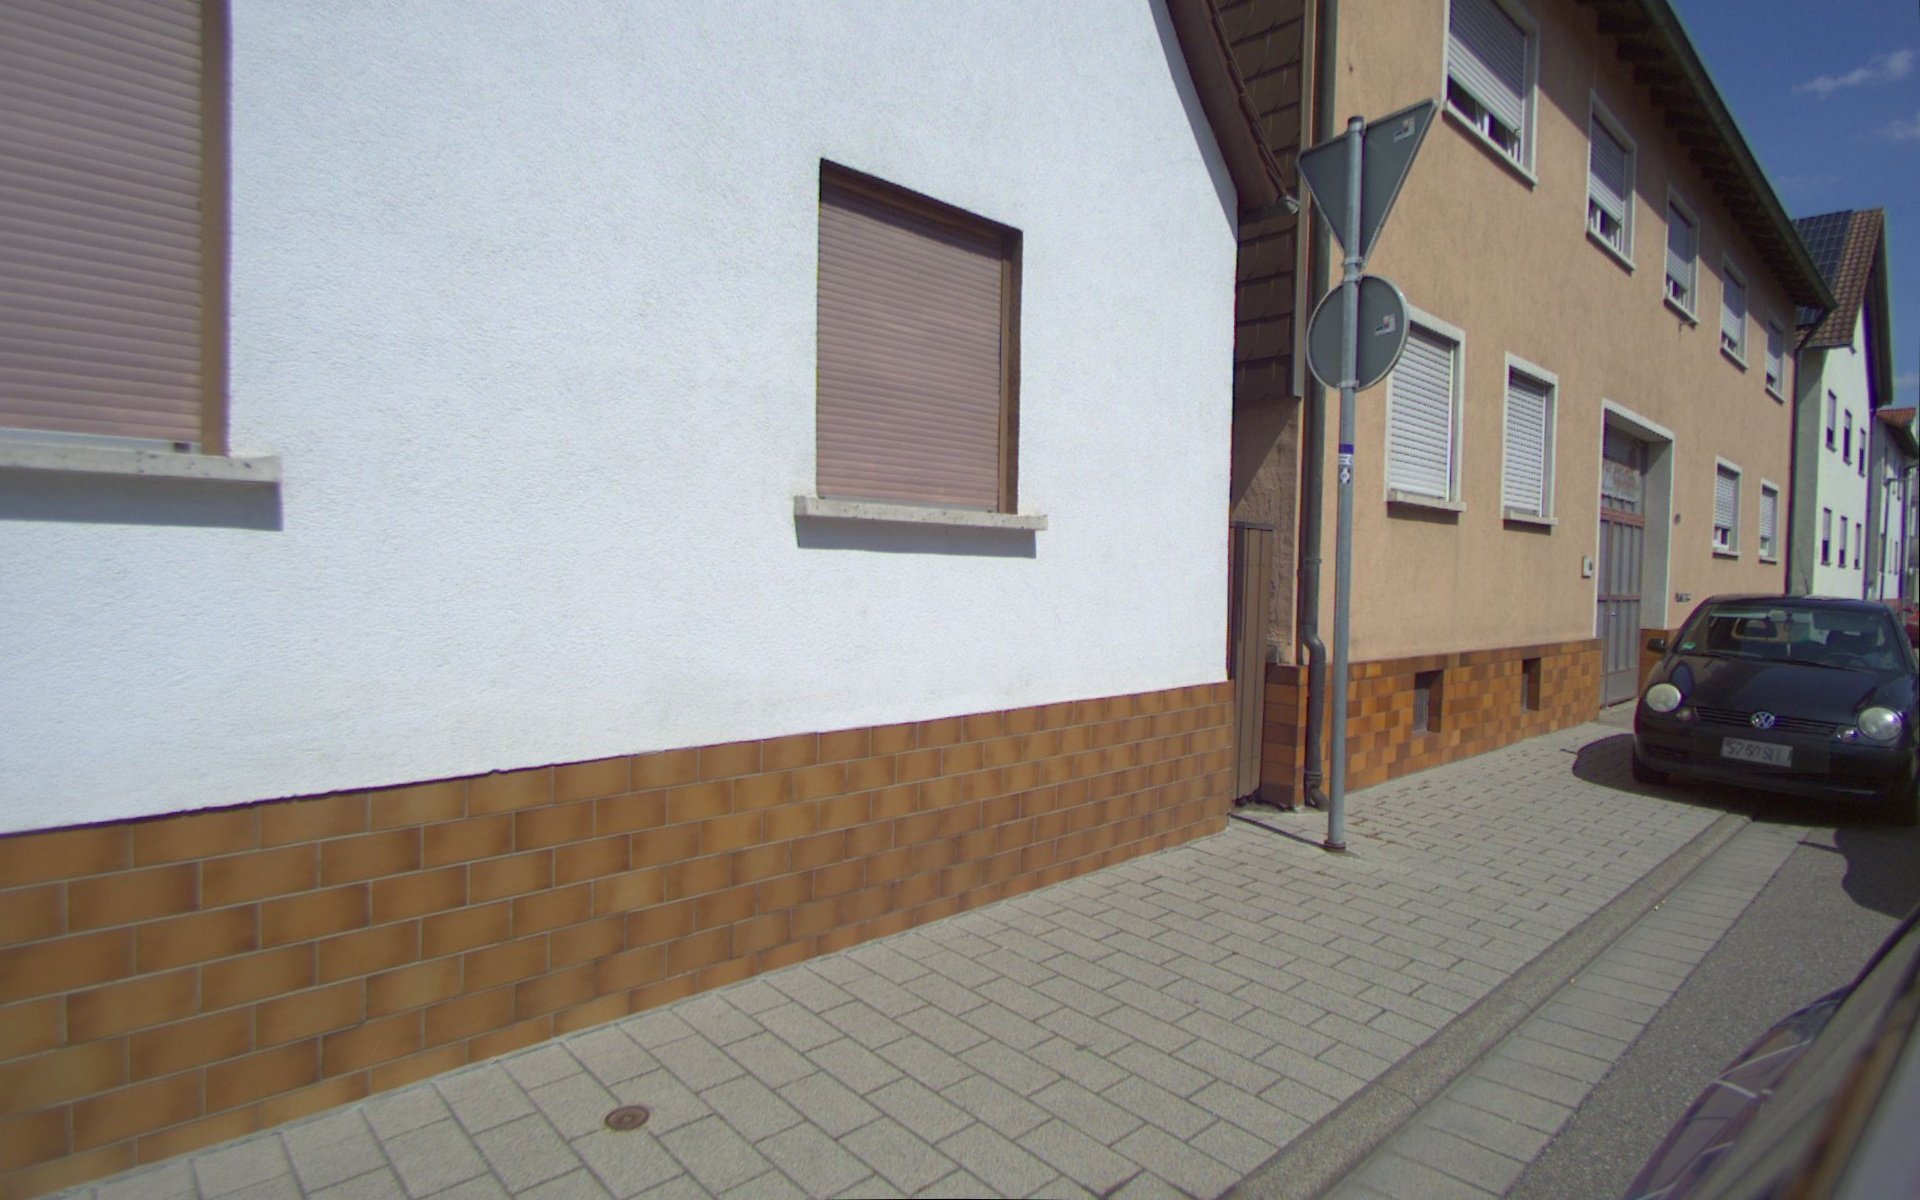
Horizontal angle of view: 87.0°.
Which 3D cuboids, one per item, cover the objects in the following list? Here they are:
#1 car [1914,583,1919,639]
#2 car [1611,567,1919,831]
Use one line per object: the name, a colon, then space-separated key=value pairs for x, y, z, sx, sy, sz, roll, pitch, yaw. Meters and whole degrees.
car: x=27.119 y=0.317 z=27.321 sx=4.120 sy=1.446 sz=1.762 roll=0 pitch=2 yaw=-44
car: x=6.495 y=0.568 z=7.760 sx=3.569 sy=1.480 sz=1.688 roll=0 pitch=4 yaw=-44
